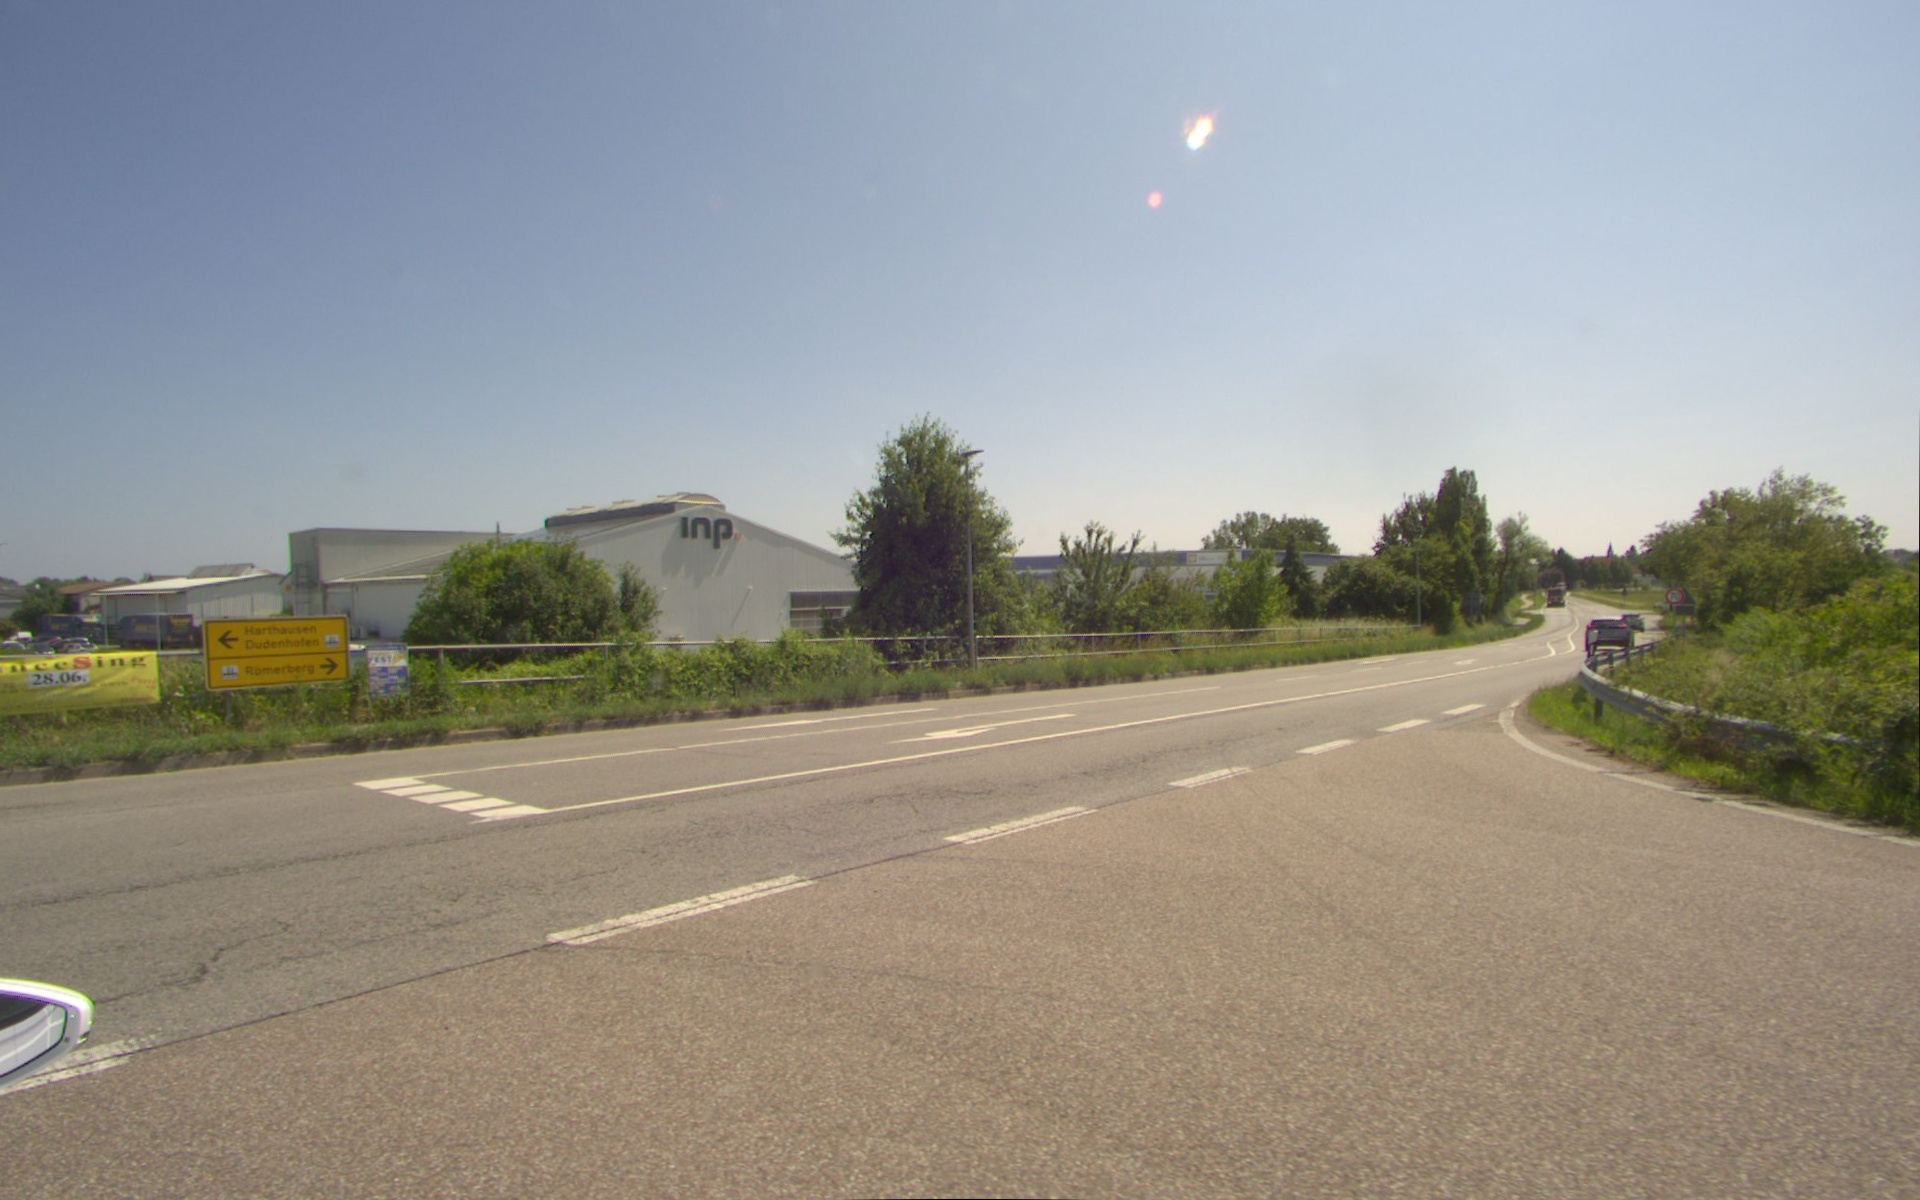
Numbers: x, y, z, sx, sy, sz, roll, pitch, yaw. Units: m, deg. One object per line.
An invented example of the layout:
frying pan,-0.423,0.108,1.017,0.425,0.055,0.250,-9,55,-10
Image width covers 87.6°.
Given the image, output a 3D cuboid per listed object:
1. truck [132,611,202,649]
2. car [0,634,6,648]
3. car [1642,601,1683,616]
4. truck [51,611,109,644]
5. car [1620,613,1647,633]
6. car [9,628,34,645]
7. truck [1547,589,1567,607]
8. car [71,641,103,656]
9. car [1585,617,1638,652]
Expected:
truck,-95.608,3.560,120.631,13.176,4.367,3.694,-1,-1,38
car,-117.937,4.961,121.693,4.799,1.753,1.988,-1,-1,36
car,98.281,1.189,140.155,1.975,2.040,4.384,0,-1,-36
truck,-123.525,3.818,140.470,14.406,4.367,3.400,-1,-1,37
car,55.505,1.907,82.496,1.509,1.593,3.642,-1,-1,39
car,-120.131,4.636,128.182,3.948,2.040,1.711,-1,0,36
truck,99.020,-0.328,166.013,2.821,2.824,6.922,-1,0,32
car,-89.623,4.983,102.771,3.786,1.382,1.676,-1,2,37
car,31.471,1.658,48.328,1.776,1.603,4.460,-1,-2,38
